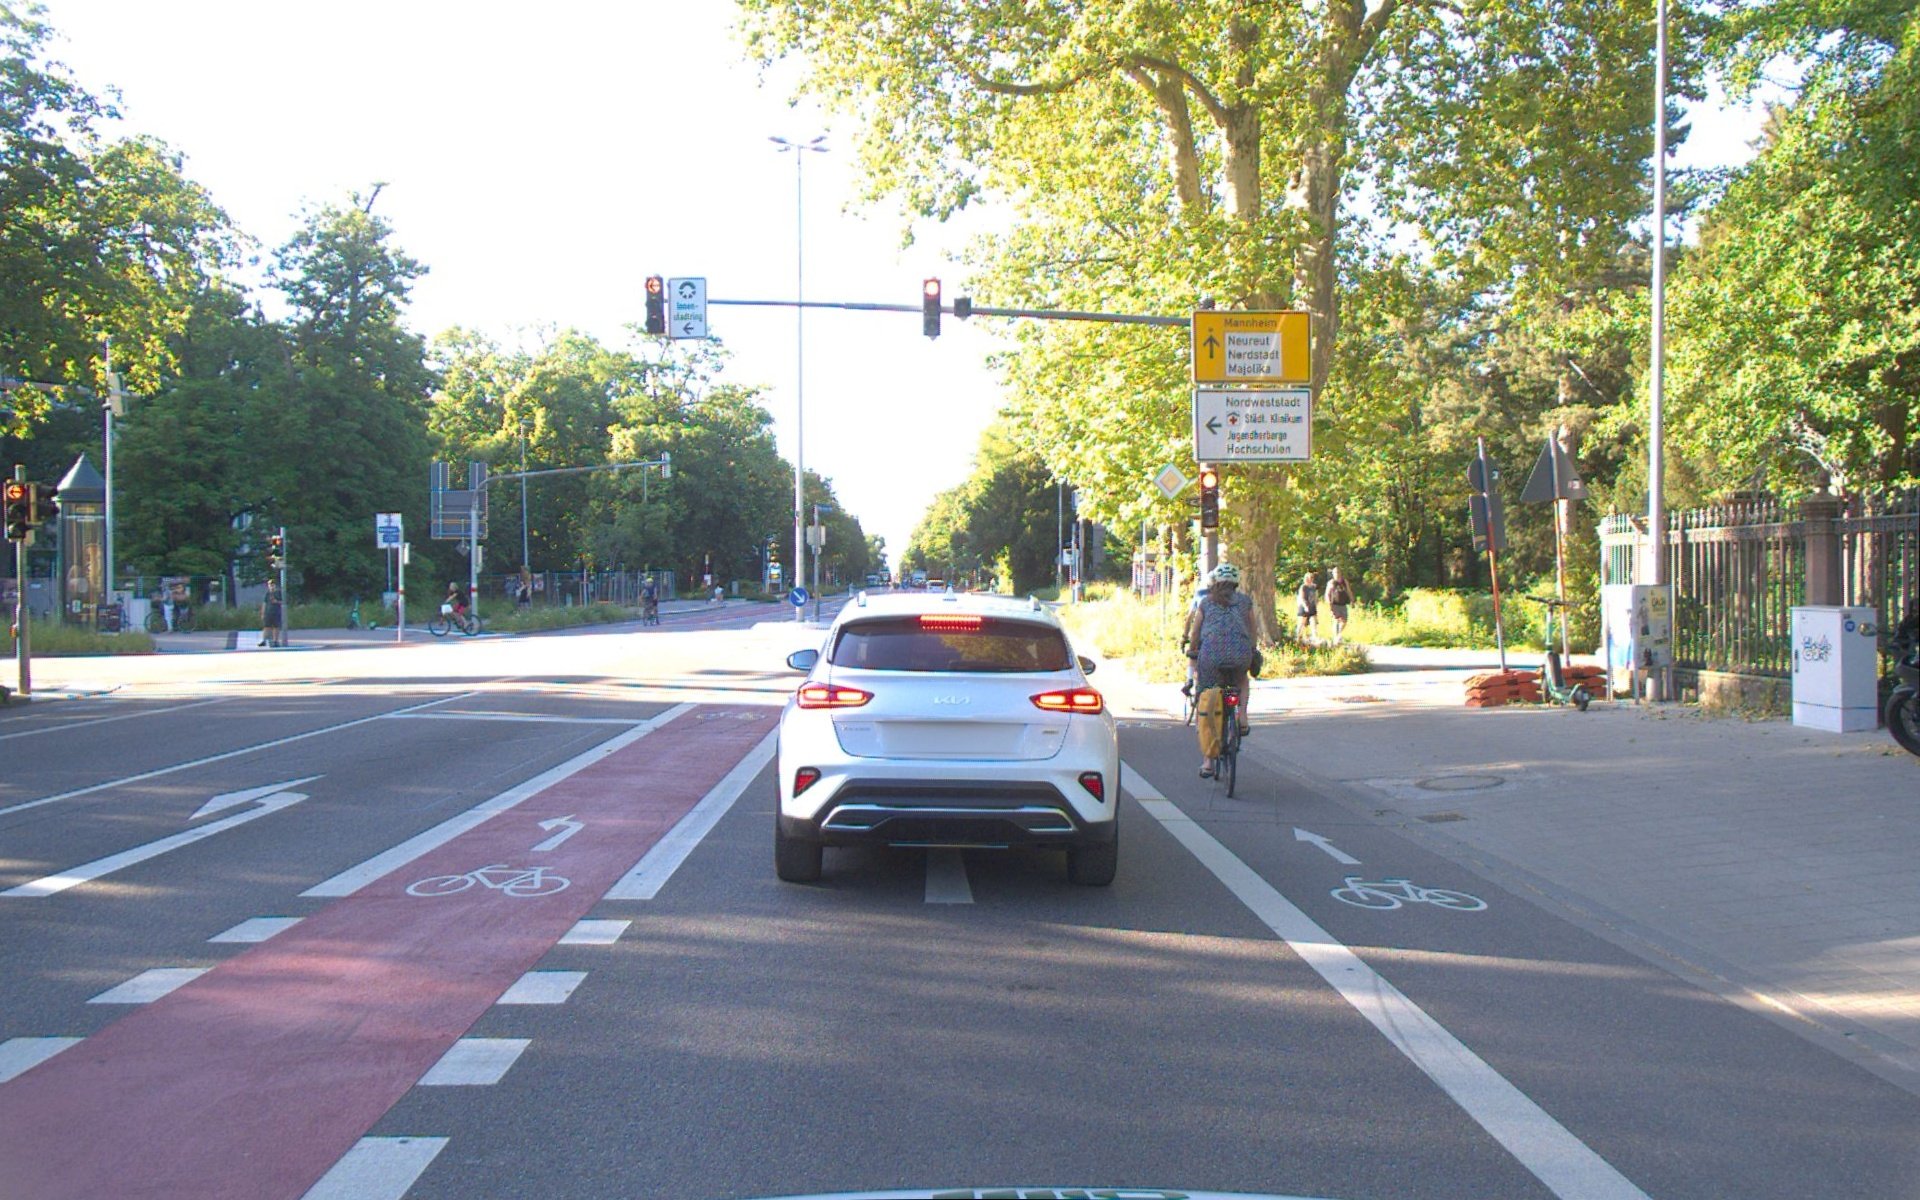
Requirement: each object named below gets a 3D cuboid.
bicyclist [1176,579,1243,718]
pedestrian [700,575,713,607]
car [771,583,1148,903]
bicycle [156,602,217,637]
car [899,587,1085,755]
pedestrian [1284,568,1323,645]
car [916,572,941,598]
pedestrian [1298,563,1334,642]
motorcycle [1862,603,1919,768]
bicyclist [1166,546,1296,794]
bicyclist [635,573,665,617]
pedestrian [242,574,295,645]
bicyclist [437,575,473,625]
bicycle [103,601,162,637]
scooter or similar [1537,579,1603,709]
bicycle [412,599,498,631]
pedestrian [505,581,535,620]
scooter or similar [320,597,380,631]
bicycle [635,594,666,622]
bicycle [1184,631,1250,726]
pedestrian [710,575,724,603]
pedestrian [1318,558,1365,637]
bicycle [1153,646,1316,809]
[{"bbox_3d":[2.806,0.538,18.638,0.543,1.504,0.716,-3,0,-2],"label":"bicyclist"},{"bbox_3d":[-16.343,-0.557,106.645,0.627,2.049,0.754,1,0,10],"label":"pedestrian"},{"bbox_3d":[-0.067,0.666,9.797,1.784,1.506,3.934,0,0,-2],"label":"car"},{"bbox_3d":[-25.970,0.644,55.535,1.826,1.168,0.290,1,0,-8],"label":"bicycle"},{"bbox_3d":[0.232,0.644,17.090,1.694,1.509,3.515,-1,1,-2],"label":"car"},{"bbox_3d":[7.822,0.137,37.679,0.676,1.729,0.643,-1,0,-7],"label":"pedestrian"},{"bbox_3d":[-2.579,-1.268,135.594,1.953,2.049,4.000,-1,1,-1],"label":"car"},{"bbox_3d":[8.219,0.047,38.168,0.604,1.802,0.646,-1,0,-8],"label":"pedestrian"},{"bbox_3d":[7.031,0.607,11.259,0.495,1.151,2.170,-2,0,-2],"label":"motorcycle"},{"bbox_3d":[2.090,0.513,12.882,0.738,1.827,1.164,1,0,-2],"label":"bicyclist"},{"bbox_3d":[-11.710,-0.199,62.517,0.857,1.636,1.188,-1,1,1],"label":"bicyclist"},{"bbox_3d":[-20.406,0.269,48.830,0.974,2.049,1.191,1,0,4],"label":"pedestrian"},{"bbox_3d":[-16.926,0.000,55.452,0.964,1.634,0.869,-1,1,-30],"label":"bicyclist"},{"bbox_3d":[-27.873,0.629,55.736,1.822,1.168,0.443,1,0,7],"label":"bicycle"},{"bbox_3d":[6.553,0.452,17.792,0.223,1.350,1.171,-1,1,-2],"label":"scooter or similar"},{"bbox_3d":[-16.915,0.493,55.456,2.677,1.006,0.575,-2,1,-30],"label":"bicycle"},{"bbox_3d":[-18.956,0.022,71.272,1.067,1.631,1.000,-1,0,-7],"label":"pedestrian"},{"bbox_3d":[-21.093,0.480,57.189,0.697,1.144,1.916,0,0,32],"label":"scooter or similar"},{"bbox_3d":[-11.700,0.307,62.581,0.650,1.006,2.505,-1,1,1],"label":"bicycle"},{"bbox_3d":[2.889,0.866,18.679,0.393,0.973,1.550,-3,0,-2],"label":"bicycle"},{"bbox_3d":[-15.731,-0.725,106.975,0.769,1.817,0.751,1,0,0],"label":"pedestrian"},{"bbox_3d":[8.858,-0.070,38.387,0.802,1.802,0.831,-1,0,-8],"label":"pedestrian"},{"bbox_3d":[2.081,0.934,12.924,0.742,1.030,2.568,1,1,-2],"label":"bicycle"}]
